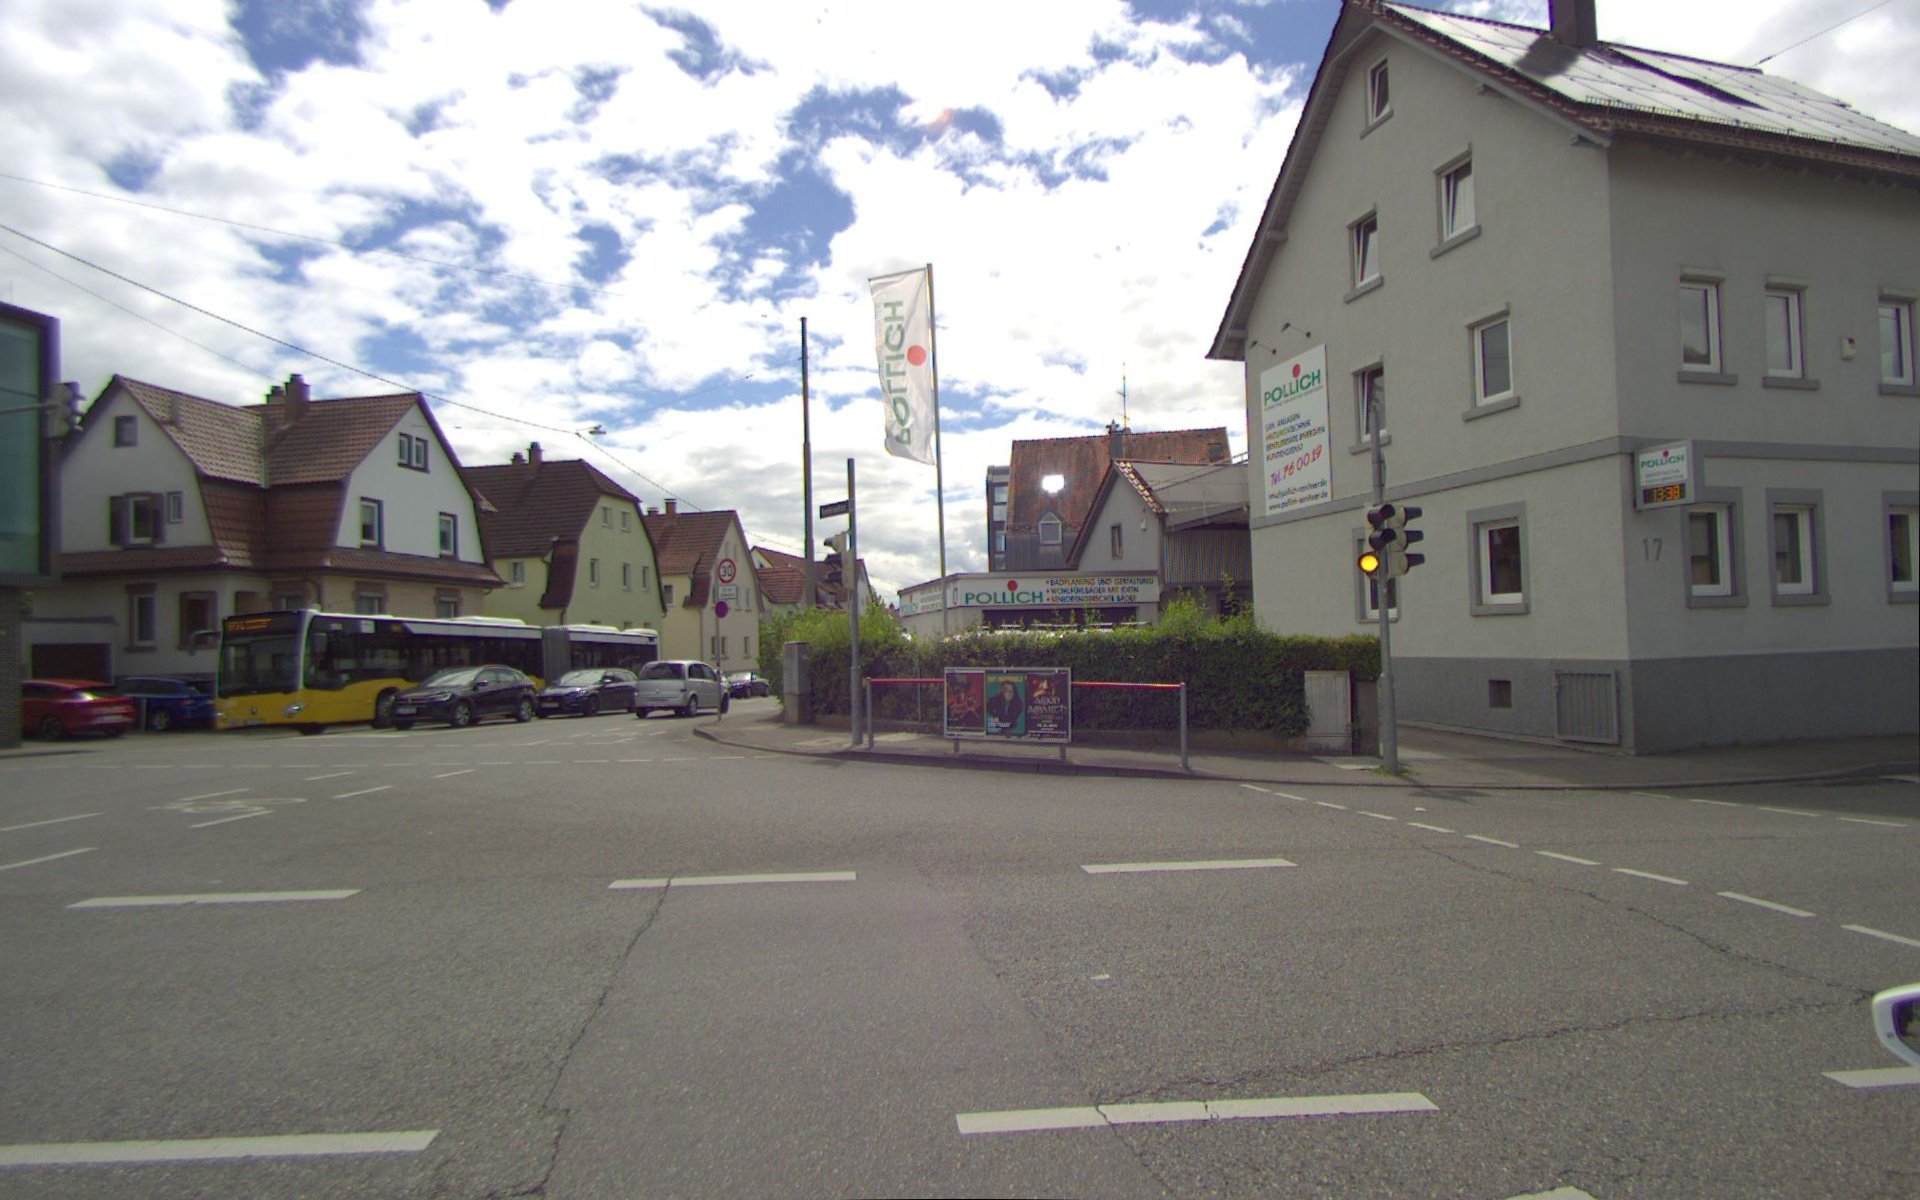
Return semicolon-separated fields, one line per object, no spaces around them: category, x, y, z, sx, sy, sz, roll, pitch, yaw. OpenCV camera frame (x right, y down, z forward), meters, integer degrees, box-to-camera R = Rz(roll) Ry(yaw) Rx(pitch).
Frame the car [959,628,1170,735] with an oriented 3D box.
car;2.131;1.653;20.984;3.933;2.040;1.995;0;-3;-15

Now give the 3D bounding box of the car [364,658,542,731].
car;-12.628;2.323;25.325;1.959;1.661;4.004;-1;-3;11

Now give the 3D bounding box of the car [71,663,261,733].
car;-22.728;2.773;28.834;3.919;1.706;2.002;2;-3;7

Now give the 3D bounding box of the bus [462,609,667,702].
bus;-14.087;2.031;36.910;2.730;2.952;9.200;-1;-3;9

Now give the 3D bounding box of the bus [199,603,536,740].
bus;-15.560;1.889;27.624;2.730;3.100;9.200;-1;-3;9

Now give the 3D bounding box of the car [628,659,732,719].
car;-8.204;2.591;29.808;1.739;1.596;4.004;-1;-3;4

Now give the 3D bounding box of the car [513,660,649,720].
car;-11.371;2.670;30.479;1.959;1.661;4.187;-1;-3;11

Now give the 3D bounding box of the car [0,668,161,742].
car;-23.302;2.658;25.874;3.919;1.661;2.002;2;-3;7

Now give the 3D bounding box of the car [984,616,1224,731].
car;2.624;1.329;18.697;3.934;1.973;1.994;0;-3;-16

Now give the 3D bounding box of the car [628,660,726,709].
car;-10.465;3.108;37.443;1.959;1.661;4.004;-1;-3;11
